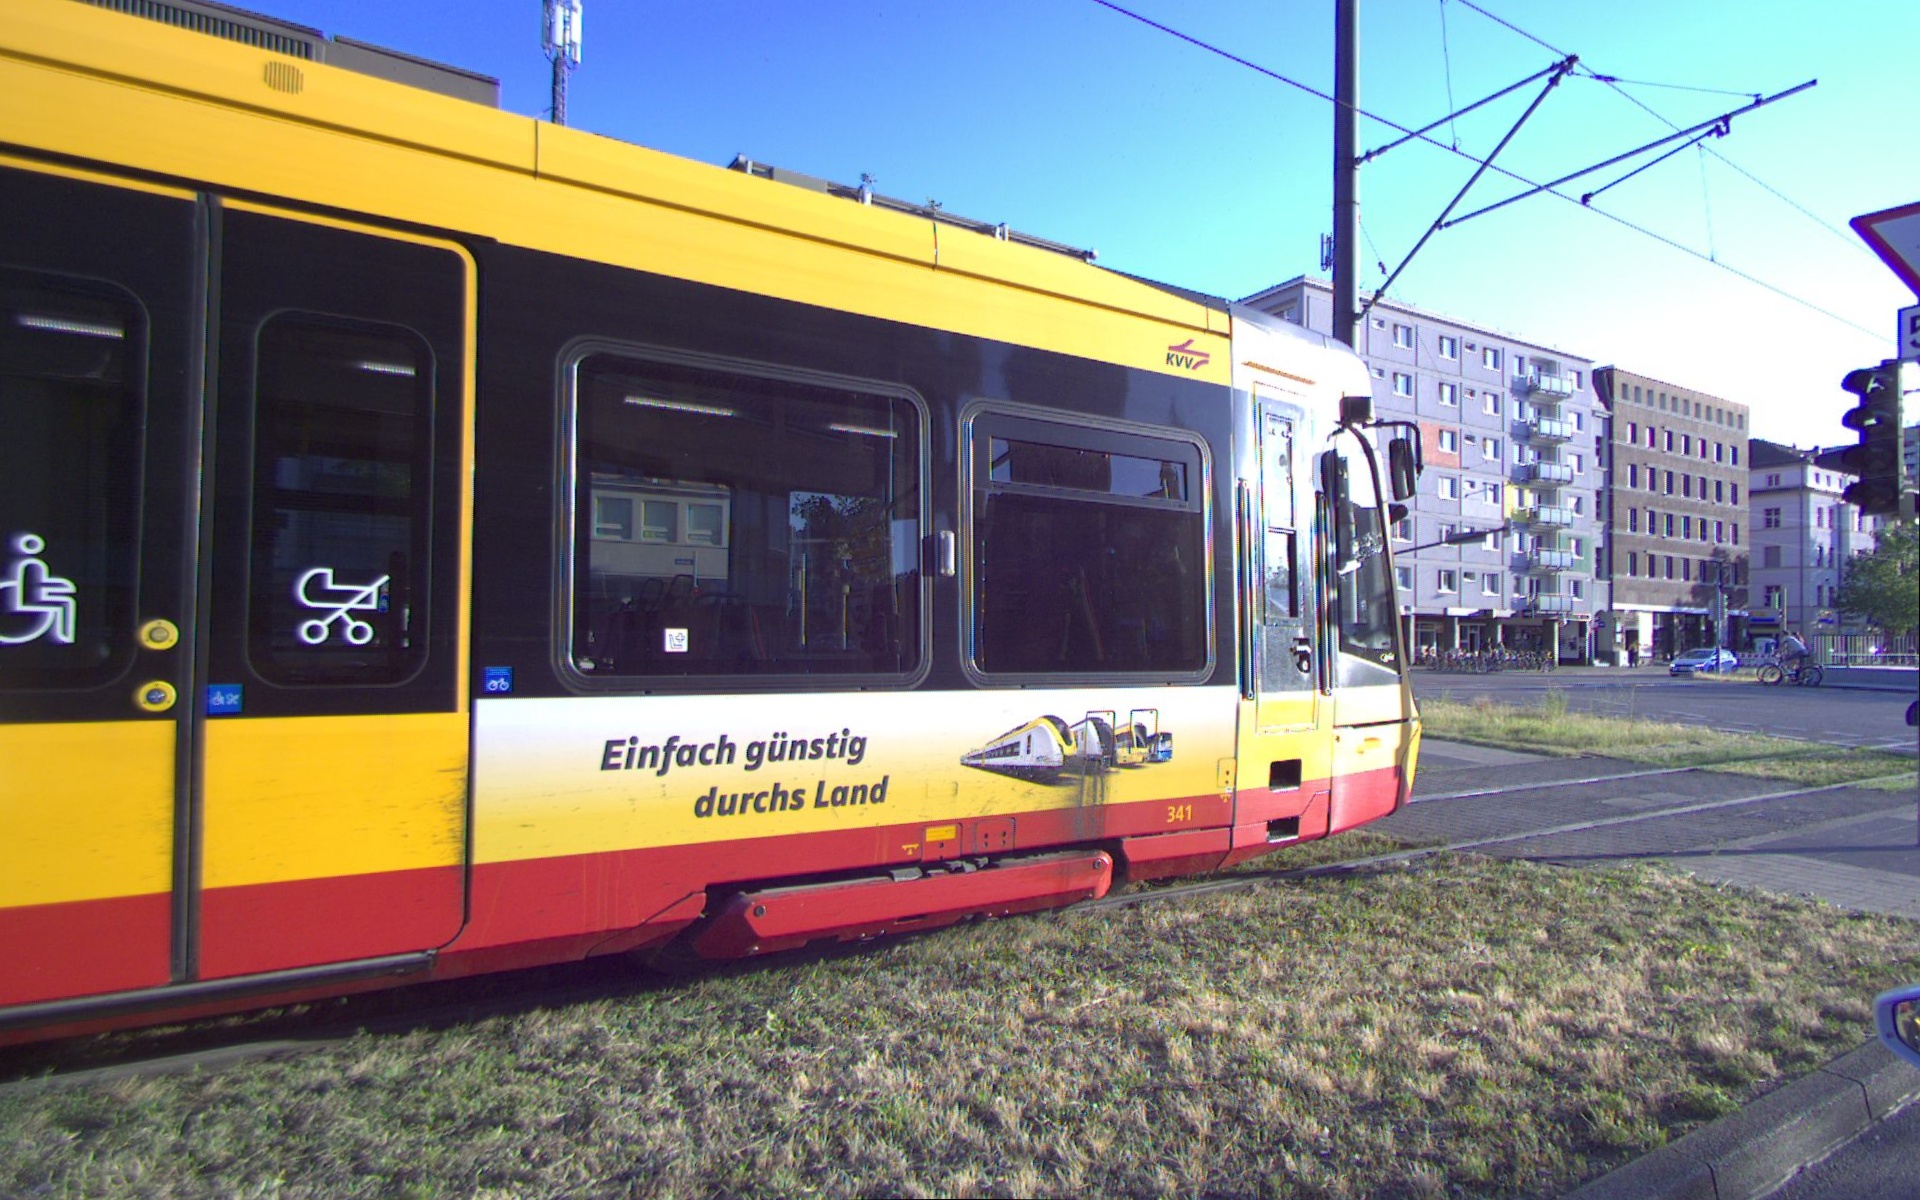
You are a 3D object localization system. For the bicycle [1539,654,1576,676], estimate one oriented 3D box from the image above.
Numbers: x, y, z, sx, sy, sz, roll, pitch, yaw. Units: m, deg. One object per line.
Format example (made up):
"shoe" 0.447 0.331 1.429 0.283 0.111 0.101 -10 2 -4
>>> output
"bicycle" 34.305 3.740 57.719 0.739 1.185 1.684 2 -2 -28

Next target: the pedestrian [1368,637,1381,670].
"pedestrian" 21.187 2.738 51.355 0.563 1.641 0.603 0 -1 29

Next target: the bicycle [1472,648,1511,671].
"bicycle" 29.004 3.242 54.843 0.644 1.206 1.780 2 -2 -30

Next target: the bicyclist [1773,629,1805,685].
"bicyclist" 27.568 1.885 33.396 0.784 1.842 0.642 0 -2 43

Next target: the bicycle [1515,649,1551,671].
"bicycle" 32.366 3.379 56.730 0.626 1.139 1.720 3 -2 -28

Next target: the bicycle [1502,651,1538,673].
"bicycle" 31.290 3.464 56.158 0.545 1.132 1.747 2 -2 -29

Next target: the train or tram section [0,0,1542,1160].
"train or tram section" -2.552 -0.372 4.347 13.068 3.788 2.894 2 -2 -31

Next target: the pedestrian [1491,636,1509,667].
"pedestrian" 32.675 3.127 60.764 0.728 1.866 0.780 2 -2 -38

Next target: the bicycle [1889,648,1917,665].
"bicycle" 70.576 4.208 75.198 2.382 1.217 0.809 2 -2 -28

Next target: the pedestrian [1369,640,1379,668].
"pedestrian" 21.390 2.777 51.893 0.376 1.401 0.394 0 -2 32

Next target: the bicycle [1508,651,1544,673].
"bicycle" 31.799 3.470 56.435 0.561 1.134 1.753 2 -2 -29

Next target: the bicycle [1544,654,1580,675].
"bicycle" 34.870 3.723 58.202 0.688 1.159 1.684 2 -2 -28

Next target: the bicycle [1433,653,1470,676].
"bicycle" 26.517 3.461 54.253 0.601 1.157 1.768 2 -2 -29

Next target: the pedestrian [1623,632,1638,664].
"pedestrian" 46.045 3.301 68.956 0.783 2.206 0.599 2 -1 -30

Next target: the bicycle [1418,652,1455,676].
"bicycle" 25.528 3.434 53.837 0.631 1.224 1.786 2 -2 -30

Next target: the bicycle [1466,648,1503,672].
"bicycle" 28.465 3.245 54.493 0.561 1.197 1.761 2 -2 -29

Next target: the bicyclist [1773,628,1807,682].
"bicyclist" 28.836 1.894 34.900 0.867 1.842 0.535 0 -2 44

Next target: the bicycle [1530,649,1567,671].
"bicycle" 33.624 3.427 57.386 0.739 1.194 1.684 2 -2 -28

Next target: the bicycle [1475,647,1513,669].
"bicycle" 29.501 3.199 55.539 0.632 1.176 1.822 2 -2 -29

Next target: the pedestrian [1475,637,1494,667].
"pedestrian" 32.173 3.185 61.628 0.715 1.837 0.820 2 -1 -40

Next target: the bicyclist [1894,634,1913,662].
"bicyclist" 70.730 3.614 75.289 0.912 2.040 0.794 2 -2 -28

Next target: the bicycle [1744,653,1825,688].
"bicycle" 28.711 2.433 34.993 2.141 1.098 0.536 0 -2 44

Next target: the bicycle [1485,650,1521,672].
"bicycle" 30.516 3.410 56.442 0.598 1.151 1.763 2 -2 -29

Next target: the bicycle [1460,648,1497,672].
"bicycle" 27.951 3.234 54.192 0.534 1.183 1.758 2 -2 -29

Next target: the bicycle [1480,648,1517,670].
"bicycle" 29.986 3.276 55.995 0.598 1.174 1.768 2 -2 -29

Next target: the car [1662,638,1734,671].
"car" 38.287 2.835 52.097 3.957 1.639 1.680 2 -3 -33

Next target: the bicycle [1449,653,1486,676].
"bicycle" 27.345 3.447 54.112 0.592 1.154 1.749 2 -2 -29

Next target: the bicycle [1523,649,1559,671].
"bicycle" 32.974 3.390 57.020 0.697 1.168 1.684 2 -2 -28

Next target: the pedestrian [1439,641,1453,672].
"pedestrian" 26.733 3.095 55.243 0.572 1.706 0.544 0 -2 40

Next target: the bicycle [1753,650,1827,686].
"bicycle" 27.576 2.242 33.385 1.880 1.089 0.629 -1 -2 43
